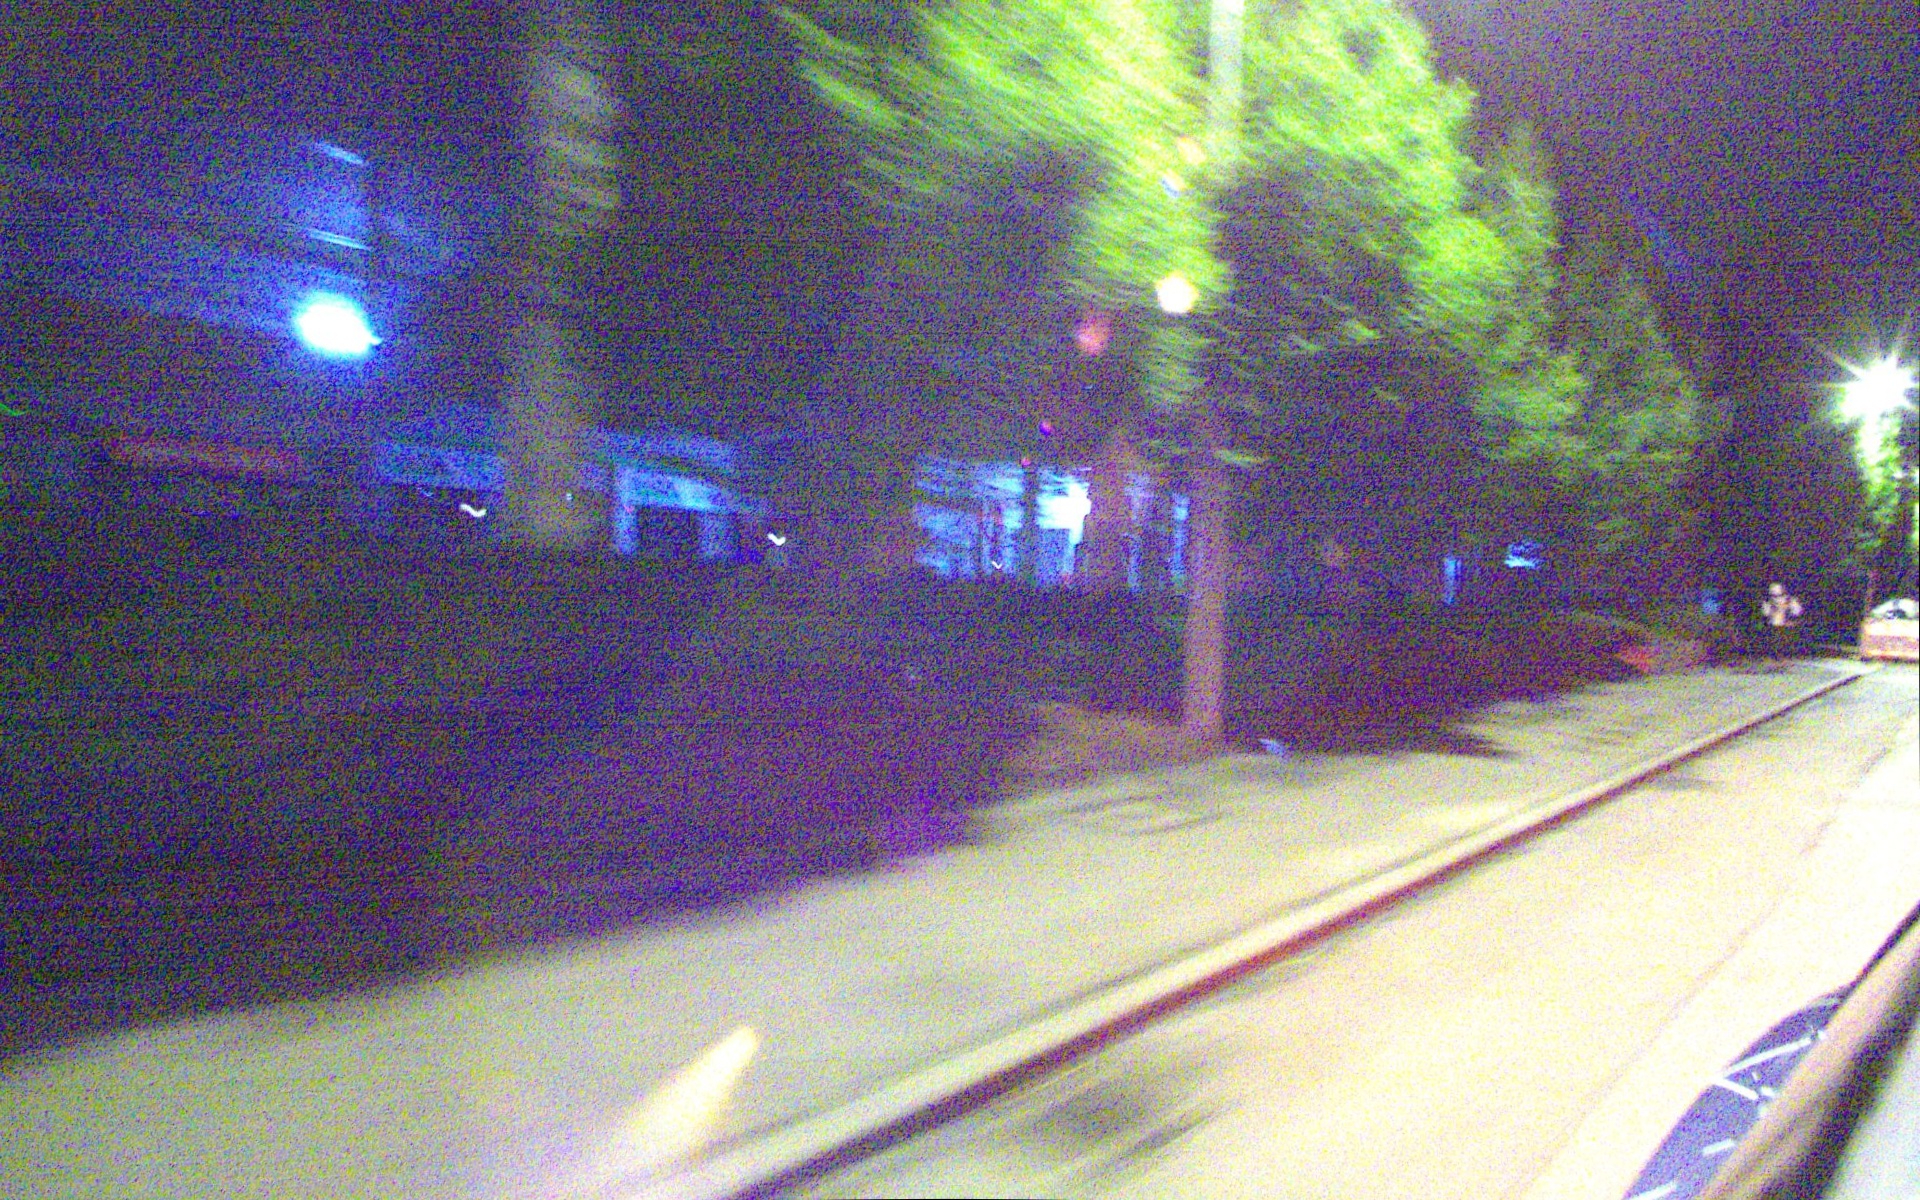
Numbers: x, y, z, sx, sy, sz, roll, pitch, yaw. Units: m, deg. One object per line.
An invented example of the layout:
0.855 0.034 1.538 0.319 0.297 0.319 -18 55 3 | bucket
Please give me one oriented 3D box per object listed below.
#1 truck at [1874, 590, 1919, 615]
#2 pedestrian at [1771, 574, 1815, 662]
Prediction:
114.635 0.300 123.671 1.978 2.818 7.188 3 2 23 | truck
18.184 0.387 22.090 0.806 1.875 0.571 1 2 -42 | pedestrian
